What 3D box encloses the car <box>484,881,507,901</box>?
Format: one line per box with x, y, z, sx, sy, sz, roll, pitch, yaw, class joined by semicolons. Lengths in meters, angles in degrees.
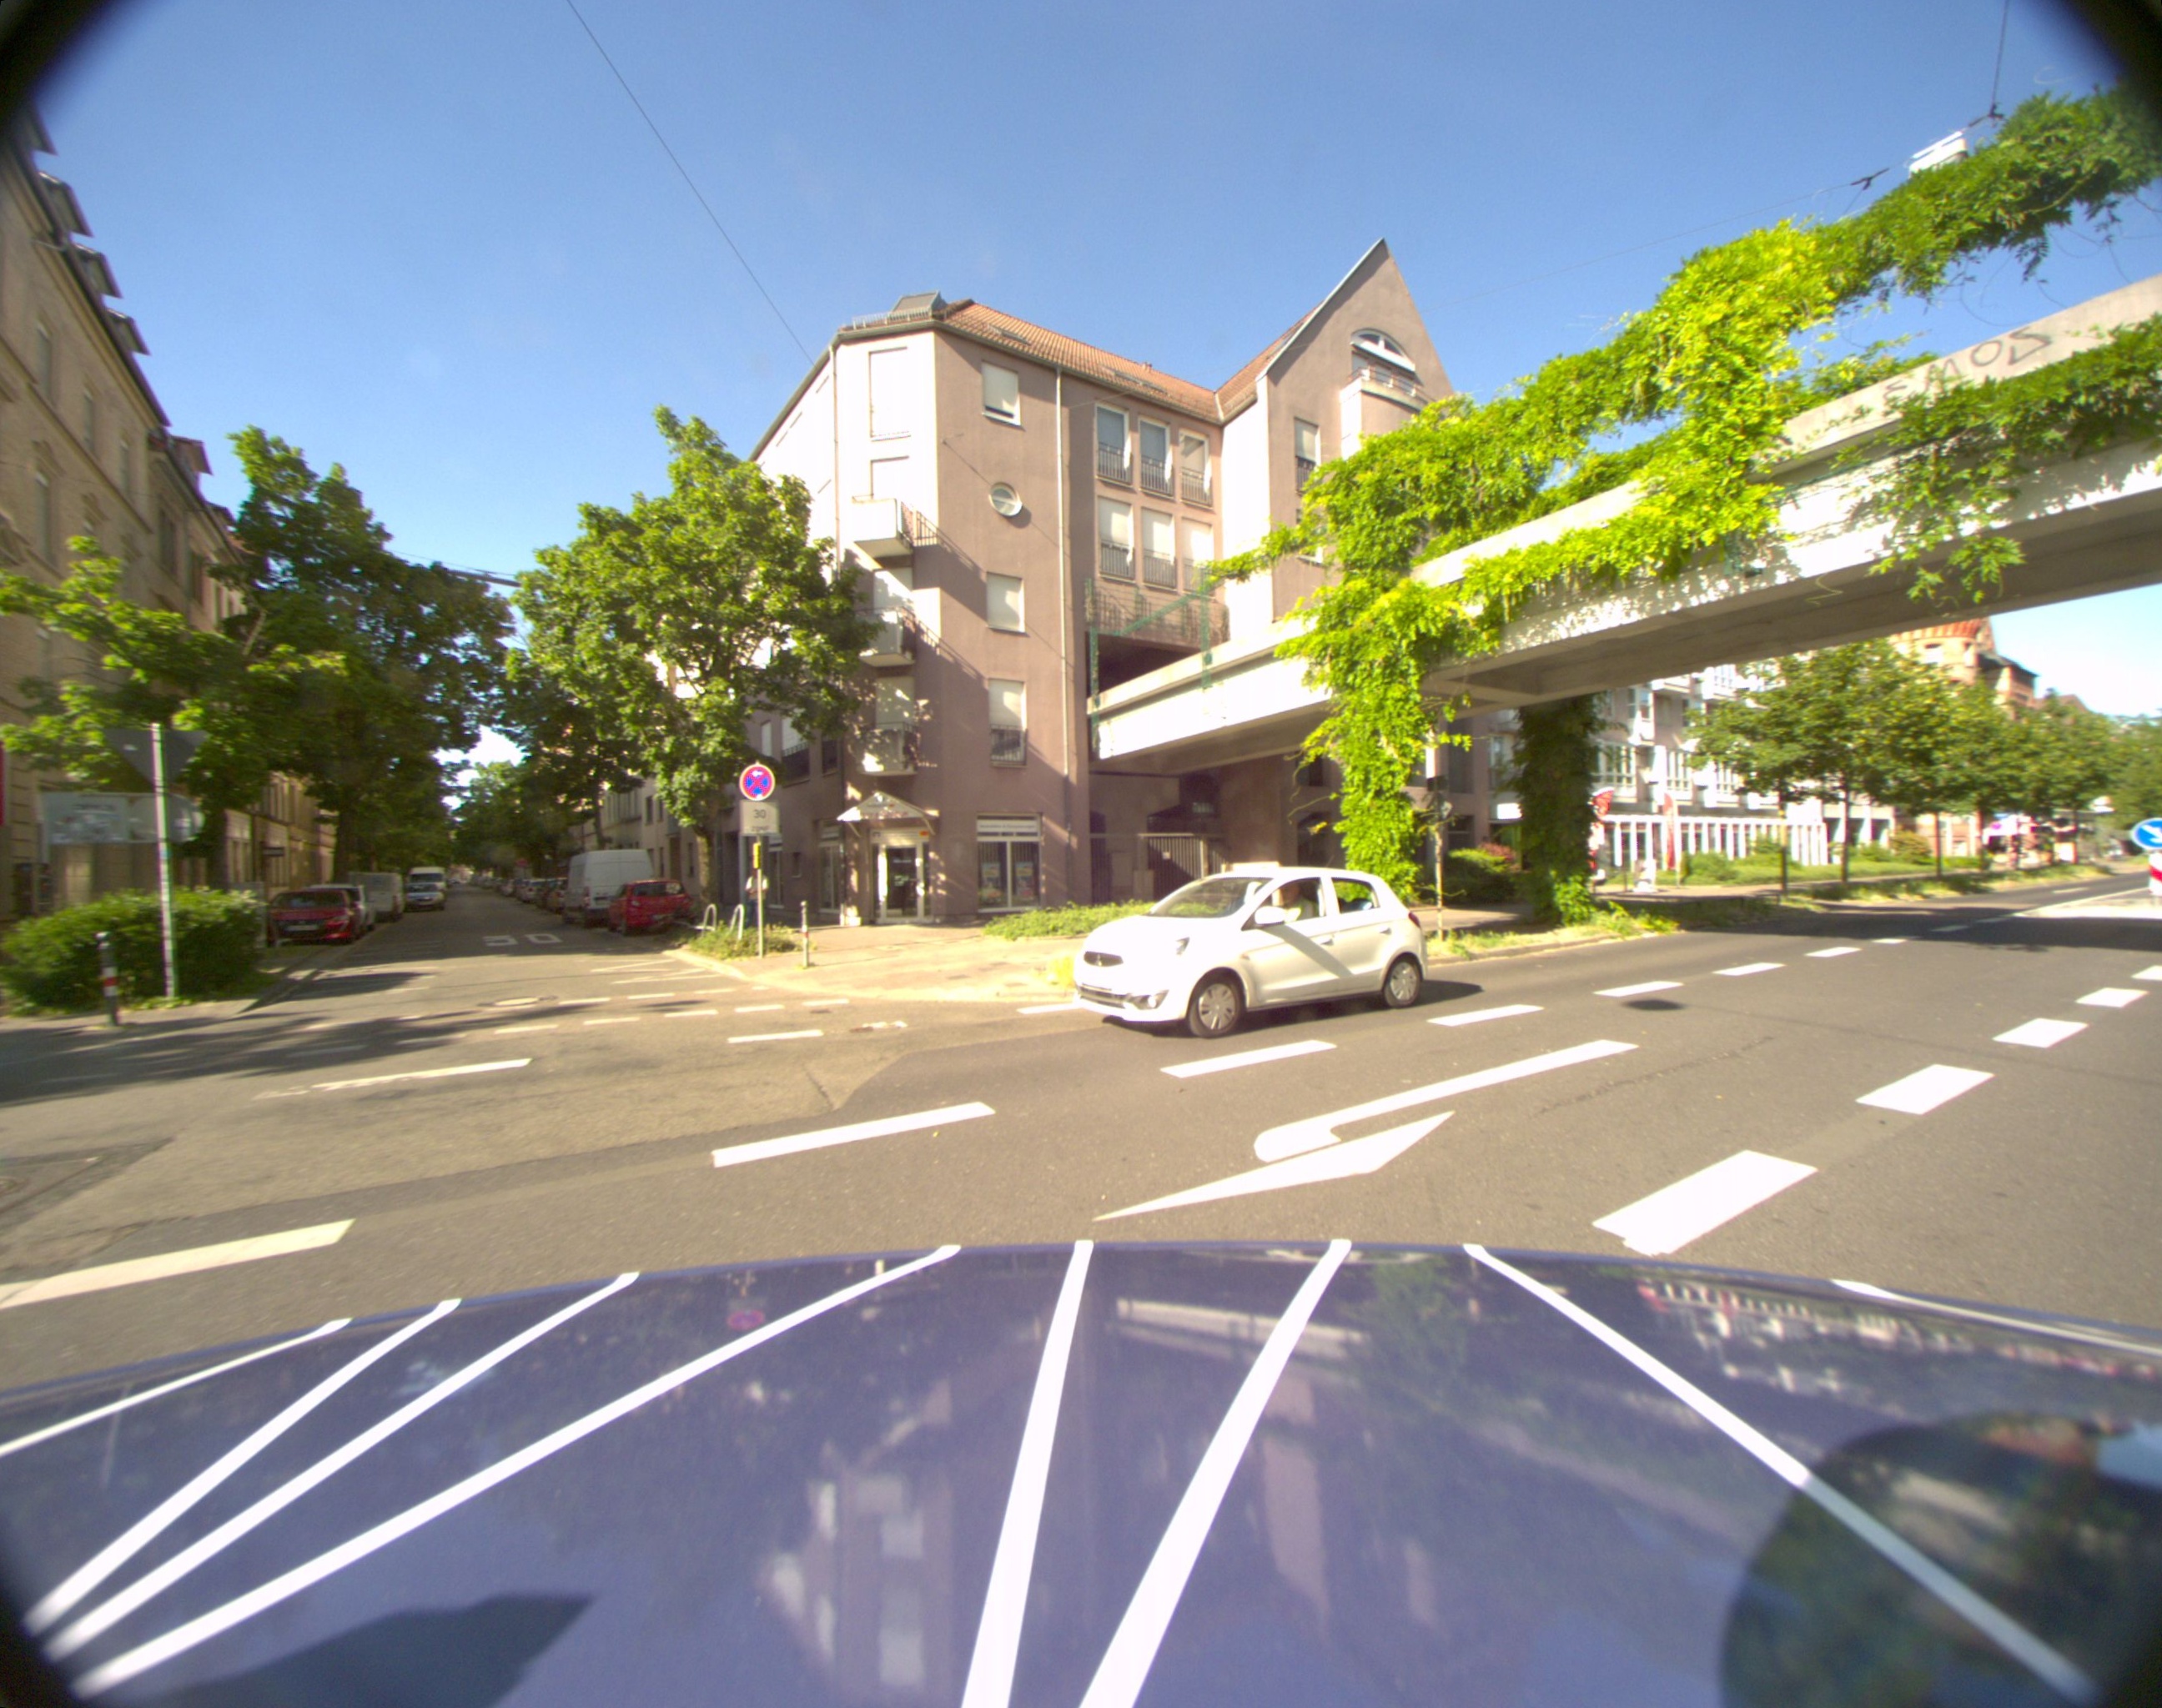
-59.977;3.768;77.876;1.781;1.871;3.989;-1;0;-38;car

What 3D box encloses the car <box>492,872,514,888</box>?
-67.919;3.004;89.276;1.872;1.759;3.989;-1;0;-41;car

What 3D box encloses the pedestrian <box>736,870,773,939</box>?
-7.653;1.180;17.847;0.634;1.567;0.531;-1;1;-5;pedestrian

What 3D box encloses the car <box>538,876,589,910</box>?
-26.329;1.942;38.619;1.789;1.547;3.811;-1;0;-39;car

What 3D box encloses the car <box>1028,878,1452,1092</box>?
1.688;1.073;7.640;4.106;1.521;1.661;-1;0;-31;car

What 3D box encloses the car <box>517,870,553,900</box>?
-36.924;2.044;51.330;1.781;1.871;3.989;-1;0;-38;car

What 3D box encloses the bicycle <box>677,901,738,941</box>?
-8.536;1.521;17.387;1.206;0.818;0.293;-1;0;-40;bicycle

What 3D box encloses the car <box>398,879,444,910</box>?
-34.348;2.078;39.606;1.698;1.464;3.990;-1;-1;-40;car

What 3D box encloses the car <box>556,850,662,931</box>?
-16.105;1.144;25.798;2.225;2.437;5.081;-1;0;-41;car

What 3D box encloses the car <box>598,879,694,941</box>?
-12.239;1.482;21.267;1.696;1.454;3.989;-1;0;-39;car

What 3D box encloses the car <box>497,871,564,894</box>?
-42.329;2.212;58.457;4.008;1.576;1.814;-1;-3;-39;car

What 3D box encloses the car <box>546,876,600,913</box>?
-23.483;1.827;35.064;1.698;1.547;3.811;-1;0;-39;car

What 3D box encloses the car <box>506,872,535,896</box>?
-45.554;2.404;61.701;1.781;1.871;3.989;-1;0;-38;car

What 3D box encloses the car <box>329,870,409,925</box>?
-28.769;1.724;30.829;2.001;2.017;4.292;-1;-1;-39;car

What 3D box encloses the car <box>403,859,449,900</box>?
-45.428;1.789;52.723;2.280;2.645;4.311;-1;-2;-40;car

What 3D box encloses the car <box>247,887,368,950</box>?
-19.786;1.602;19.603;1.783;1.432;3.990;3;-4;-40;car

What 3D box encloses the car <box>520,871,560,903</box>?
-33.336;2.011;46.777;1.781;1.870;3.990;-1;-1;-38;car

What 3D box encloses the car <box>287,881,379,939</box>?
-22.986;1.665;23.469;1.698;1.586;3.990;-1;-1;-40;car
